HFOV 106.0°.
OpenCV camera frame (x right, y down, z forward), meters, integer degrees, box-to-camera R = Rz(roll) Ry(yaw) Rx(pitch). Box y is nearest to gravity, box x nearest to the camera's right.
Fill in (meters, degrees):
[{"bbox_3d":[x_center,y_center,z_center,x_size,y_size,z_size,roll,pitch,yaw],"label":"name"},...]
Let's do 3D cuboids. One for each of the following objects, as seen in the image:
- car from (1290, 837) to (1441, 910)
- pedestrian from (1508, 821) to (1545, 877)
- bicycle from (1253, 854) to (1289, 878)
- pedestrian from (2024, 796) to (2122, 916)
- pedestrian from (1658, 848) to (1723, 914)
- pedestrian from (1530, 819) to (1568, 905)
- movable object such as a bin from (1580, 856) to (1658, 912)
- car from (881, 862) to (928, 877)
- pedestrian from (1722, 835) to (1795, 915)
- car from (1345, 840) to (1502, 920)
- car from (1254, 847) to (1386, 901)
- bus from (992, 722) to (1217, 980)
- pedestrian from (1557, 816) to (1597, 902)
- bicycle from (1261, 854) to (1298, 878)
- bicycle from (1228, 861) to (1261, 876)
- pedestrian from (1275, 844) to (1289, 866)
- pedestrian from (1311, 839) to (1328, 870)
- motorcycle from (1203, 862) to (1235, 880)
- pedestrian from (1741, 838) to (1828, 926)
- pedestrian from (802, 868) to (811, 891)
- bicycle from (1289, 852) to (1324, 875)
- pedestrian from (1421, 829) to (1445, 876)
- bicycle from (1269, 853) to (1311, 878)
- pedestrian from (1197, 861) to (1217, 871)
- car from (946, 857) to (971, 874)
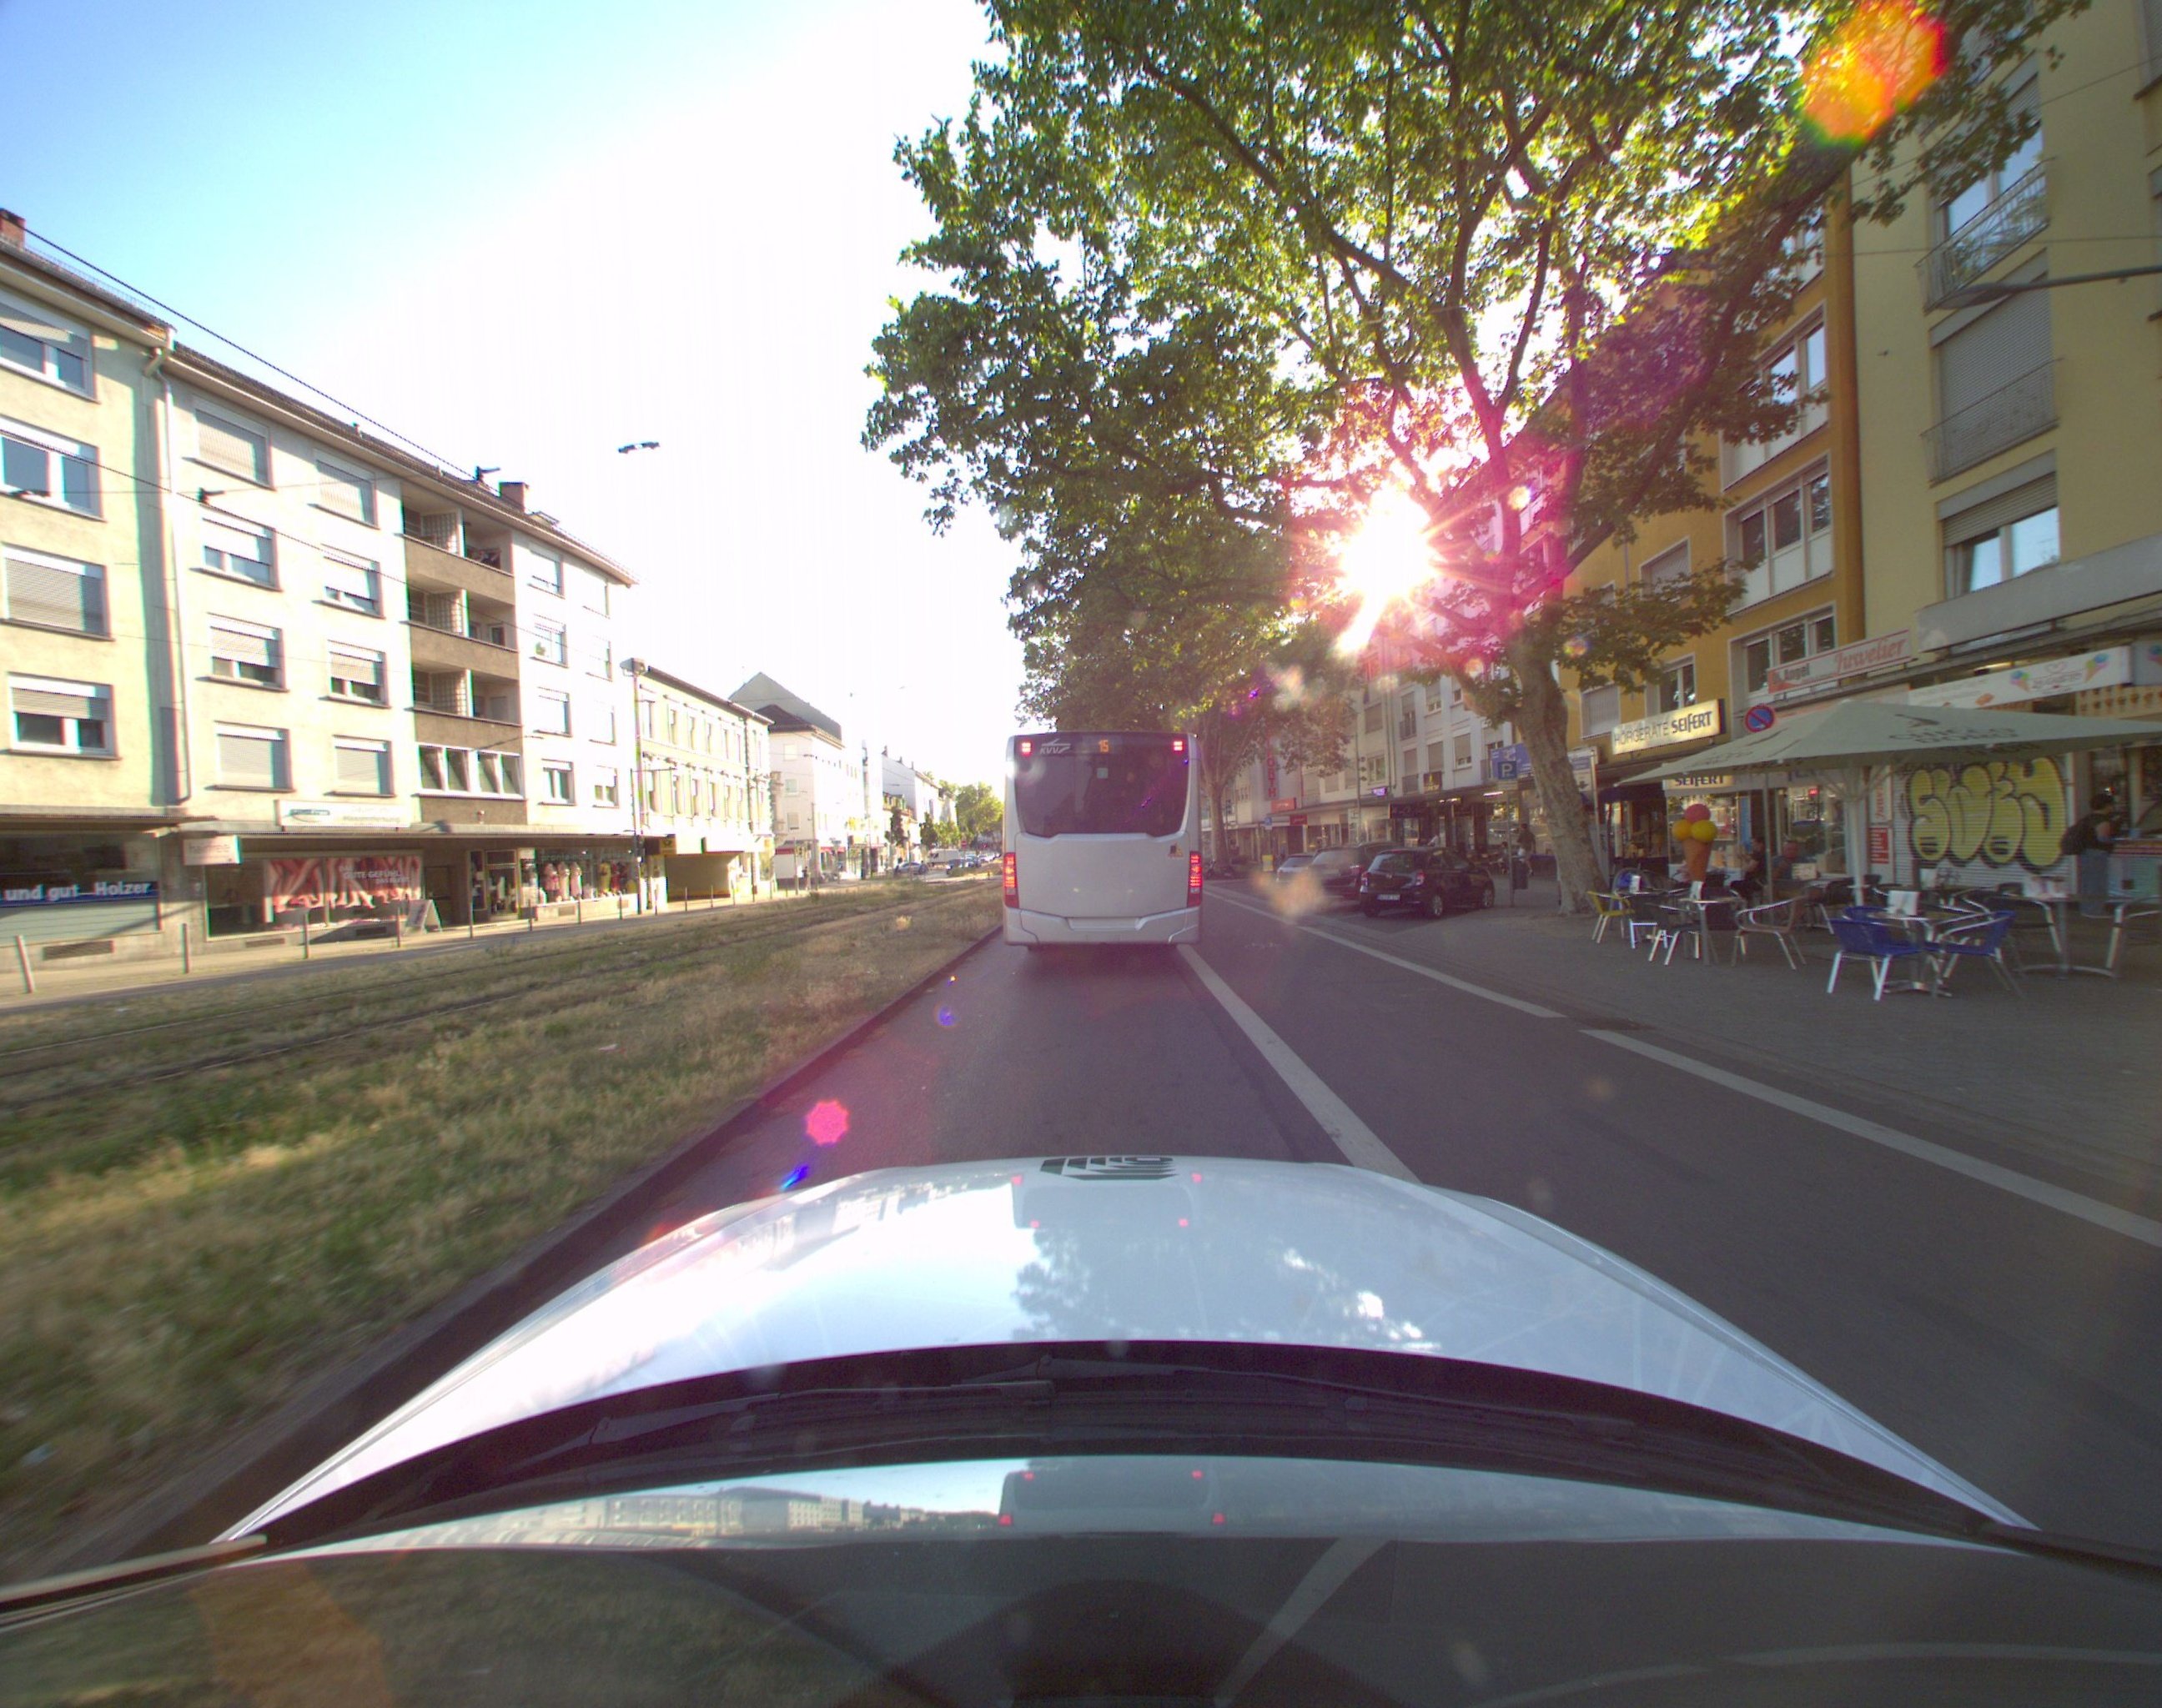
[{"bbox_3d":[7.556,0.463,21.437,4.172,1.681,1.788,-2,0,-39],"label":"car"},{"bbox_3d":[14.954,-0.170,27.340,0.703,1.791,0.789,-6,-1,7],"label":"pedestrian"},{"bbox_3d":[10.798,0.665,46.414,1.865,1.189,0.713,-5,-1,9],"label":"bicycle"},{"bbox_3d":[13.302,0.034,10.942,0.618,1.546,0.641,-3,0,32],"label":"pedestrian"},{"bbox_3d":[10.630,0.466,14.233,0.581,1.115,0.751,-1,0,2],"label":"pedestrian"},{"bbox_3d":[10.254,0.169,17.854,0.520,1.832,0.470,-2,-1,-36],"label":"pedestrian"},{"bbox_3d":[10.188,0.553,15.442,0.929,1.023,0.834,0,0,-20],"label":"movable object such as a bin"},{"bbox_3d":[-19.040,1.627,87.883,4.571,1.412,1.978,-2,0,-35],"label":"car"},{"bbox_3d":[11.197,0.337,13.483,0.581,1.275,0.759,-1,0,2],"label":"pedestrian"},{"bbox_3d":[7.759,0.539,18.329,3.627,1.540,1.721,-2,0,-39],"label":"car"},{"bbox_3d":[7.569,0.595,25.619,4.197,1.451,1.789,-2,0,-37],"label":"car"},{"bbox_3d":[0.438,-0.052,13.461,2.667,3.083,7.118,-1,0,2],"label":"bus"},{"bbox_3d":[10.861,0.109,17.844,0.517,1.832,0.472,-2,-1,-21],"label":"pedestrian"},{"bbox_3d":[11.041,0.663,45.399,1.784,1.189,0.670,-5,-1,-7],"label":"bicycle"},{"bbox_3d":[9.595,0.876,47.946,1.865,0.765,0.713,-2,2,9],"label":"bicycle"},{"bbox_3d":[15.906,0.042,64.458,0.746,1.679,0.834,-2,2,-5],"label":"pedestrian"},{"bbox_3d":[14.322,0.027,48.897,0.777,1.794,0.764,-2,0,1],"label":"pedestrian"},{"bbox_3d":[7.319,0.889,43.173,1.566,0.892,0.544,-3,0,-2],"label":"motorcycle"},{"bbox_3d":[10.247,0.395,11.887,0.603,1.225,0.745,-2,0,2],"label":"pedestrian"},{"bbox_3d":[-20.577,1.896,61.095,0.424,1.713,0.509,-2,0,5],"label":"pedestrian"},{"bbox_3d":[12.293,0.515,44.411,1.753,1.154,0.680,-4,0,10],"label":"bicycle"},{"bbox_3d":[14.674,-0.065,33.970,0.640,1.876,0.825,-2,0,4],"label":"pedestrian"},{"bbox_3d":[11.303,0.597,44.101,2.070,1.233,0.833,-3,0,6],"label":"bicycle"},{"bbox_3d":[8.399,0.787,54.179,1.250,0.589,0.482,-2,0,-1],"label":"pedestrian"},{"bbox_3d":[-12.192,1.114,81.126,1.716,1.509,3.478,-5,0,2],"label":"car"}]
